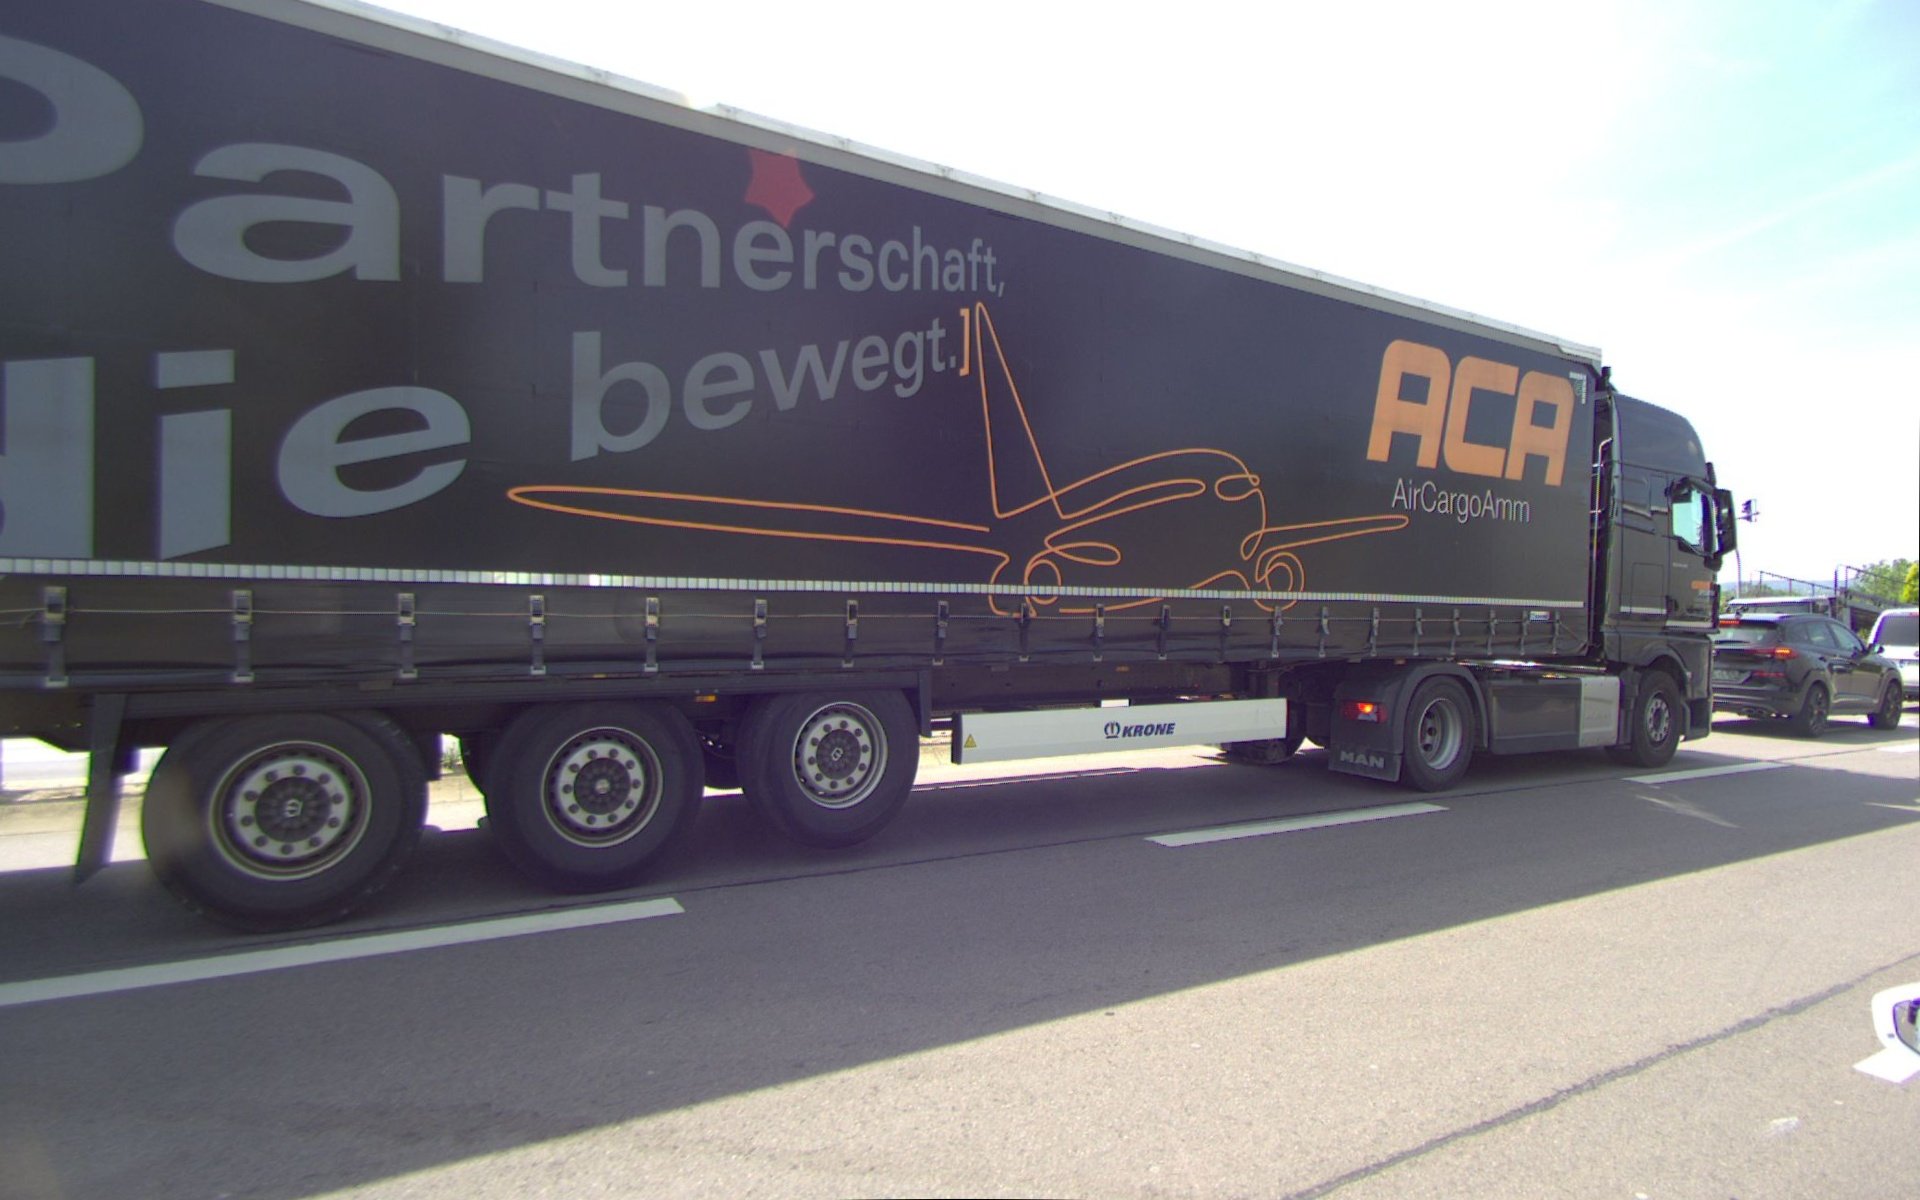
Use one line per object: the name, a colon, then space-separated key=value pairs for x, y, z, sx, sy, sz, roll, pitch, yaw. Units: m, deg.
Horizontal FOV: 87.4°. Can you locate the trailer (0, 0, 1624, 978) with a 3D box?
trailer: x=-0.247 y=-0.481 z=7.271 sx=13.628 sy=3.965 sz=2.769 roll=2 pitch=0 yaw=-31

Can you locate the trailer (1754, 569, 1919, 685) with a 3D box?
trailer: x=37.286 y=1.224 z=39.012 sx=19.553 sy=3.813 sz=2.628 roll=2 pitch=-2 yaw=-28

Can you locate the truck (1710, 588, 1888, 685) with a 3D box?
truck: x=28.792 y=1.271 z=34.433 sx=5.917 sy=3.053 sz=2.787 roll=2 pitch=-2 yaw=-29

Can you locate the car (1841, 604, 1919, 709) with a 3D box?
car: x=18.771 y=1.041 z=18.899 sx=4.693 sy=1.822 sz=1.760 roll=1 pitch=0 yaw=-28

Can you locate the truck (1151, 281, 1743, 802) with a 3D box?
truck: x=5.212 y=-0.393 z=10.550 sx=5.902 sy=4.067 sz=2.769 roll=2 pitch=0 yaw=-31

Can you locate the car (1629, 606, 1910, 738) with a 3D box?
car: x=11.997 y=0.973 z=14.836 sx=4.298 sy=1.679 sz=1.847 roll=1 pitch=0 yaw=-31
